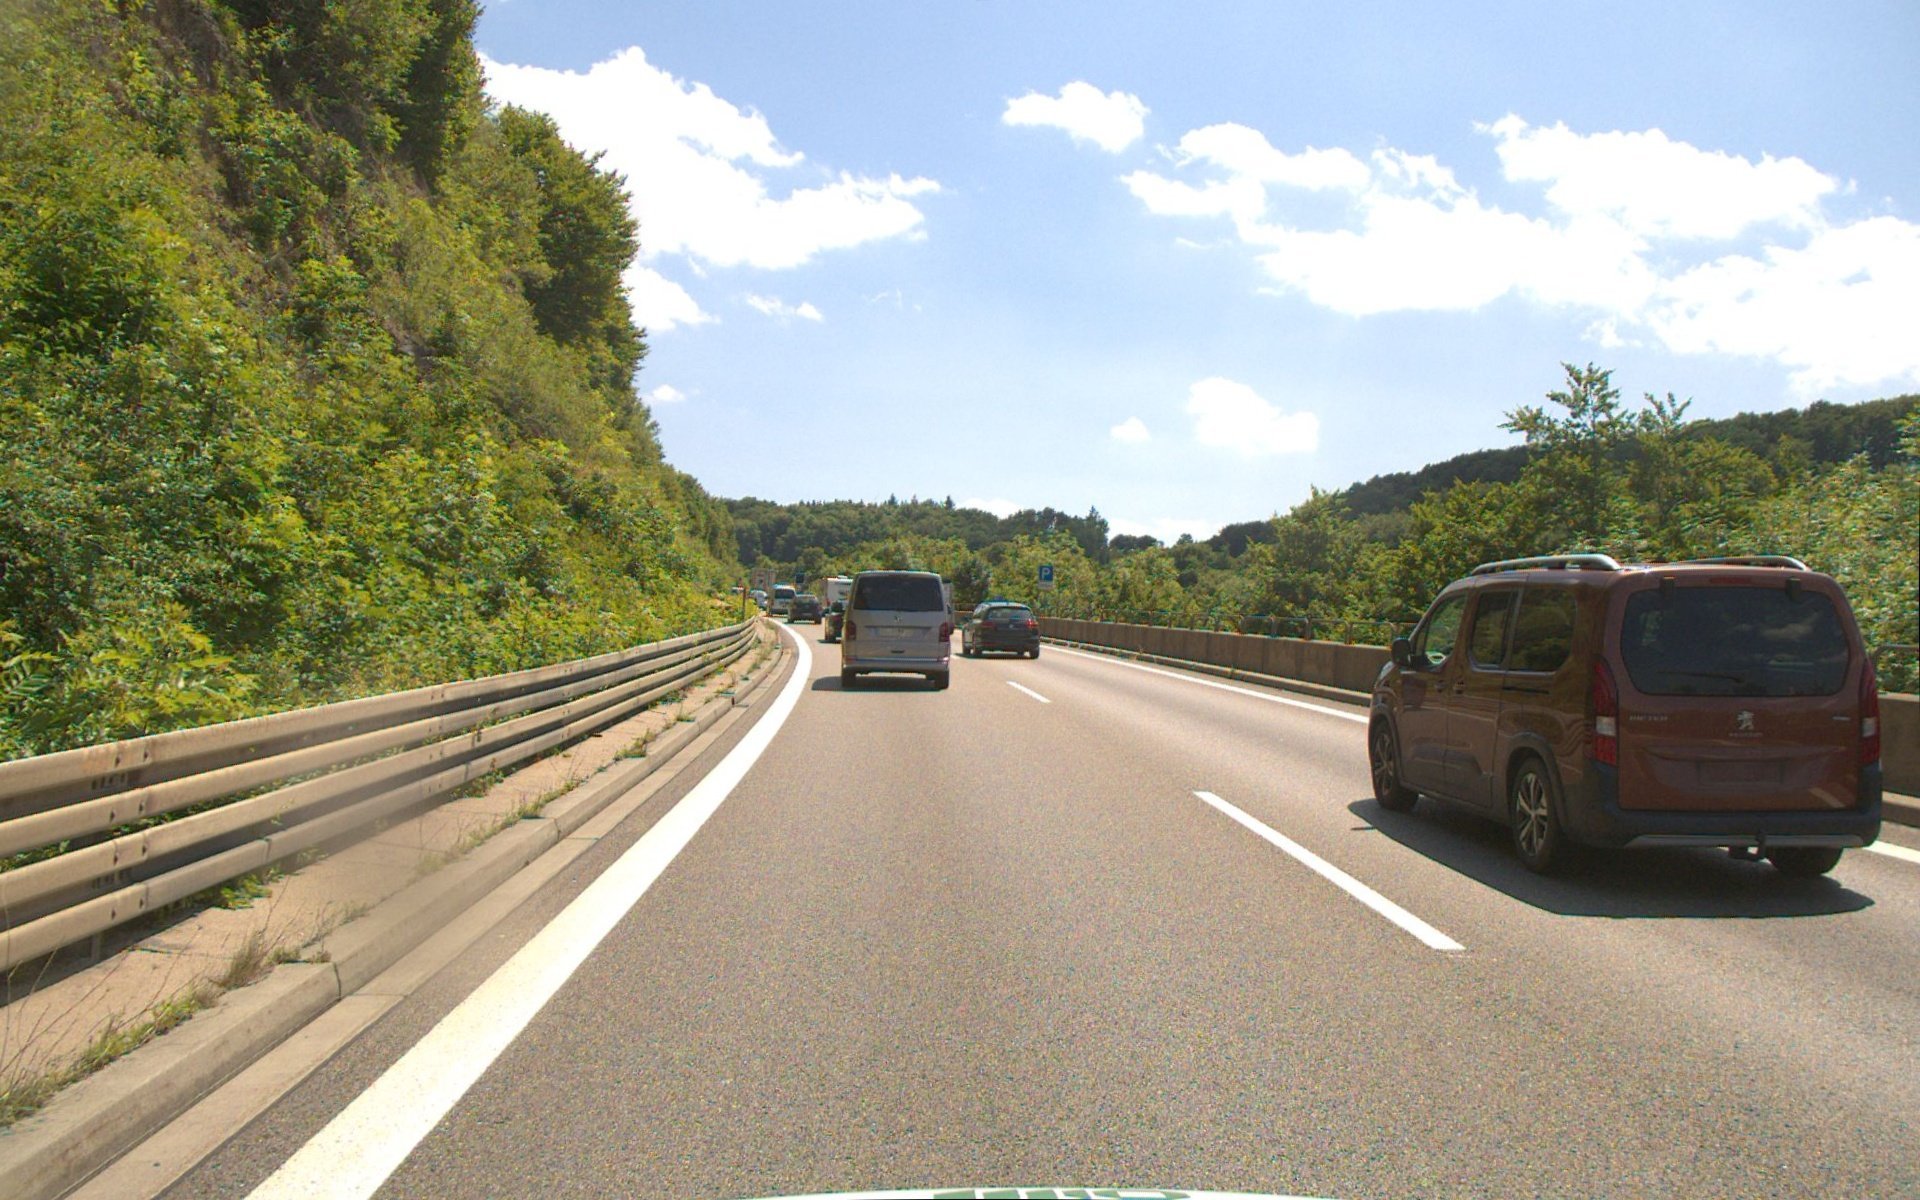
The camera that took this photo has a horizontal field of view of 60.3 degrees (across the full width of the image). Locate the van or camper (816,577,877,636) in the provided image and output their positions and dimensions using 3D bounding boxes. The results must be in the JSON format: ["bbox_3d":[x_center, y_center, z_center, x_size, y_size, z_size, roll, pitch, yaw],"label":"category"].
[{"bbox_3d":[-7.813,0.424,112.674,3.217,3.855,8.092,1,0,-10],"label":"van or camper"}]

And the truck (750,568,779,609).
[{"bbox_3d":[-22.865,-1.347,192.855,3.229,4.598,7.717,1,0,-7],"label":"truck"}]

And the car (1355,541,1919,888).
[{"bbox_3d":[4.173,0.640,11.136,1.796,1.815,4.674,1,-1,-1],"label":"car"}]

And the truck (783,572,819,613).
[{"bbox_3d":[-17.829,-0.814,186.318,3.224,4.407,7.729,0,-1,0],"label":"truck"}]

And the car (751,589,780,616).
[{"bbox_3d":[-14.720,0.206,125.128,1.957,1.948,3.992,1,0,-9],"label":"car"}]

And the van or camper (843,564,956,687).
[{"bbox_3d":[-1.105,0.433,29.343,1.838,1.984,4.291,1,0,-3],"label":"van or camper"}]

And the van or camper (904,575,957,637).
[{"bbox_3d":[-1.267,0.271,71.704,2.217,2.596,4.735,0,-1,-1],"label":"van or camper"}]

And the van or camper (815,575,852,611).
[{"bbox_3d":[-14.171,-0.735,186.003,3.208,3.855,8.113,1,0,2],"label":"van or camper"}]

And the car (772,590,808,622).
[{"bbox_3d":[-10.378,0.360,101.050,1.954,1.849,3.998,1,0,-3],"label":"car"}]

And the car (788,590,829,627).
[{"bbox_3d":[-7.813,0.423,85.113,1.956,1.849,3.993,1,0,-7],"label":"car"}]

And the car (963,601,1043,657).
[{"bbox_3d":[1.127,0.764,44.952,1.734,1.400,3.588,1,0,-6],"label":"car"}]
